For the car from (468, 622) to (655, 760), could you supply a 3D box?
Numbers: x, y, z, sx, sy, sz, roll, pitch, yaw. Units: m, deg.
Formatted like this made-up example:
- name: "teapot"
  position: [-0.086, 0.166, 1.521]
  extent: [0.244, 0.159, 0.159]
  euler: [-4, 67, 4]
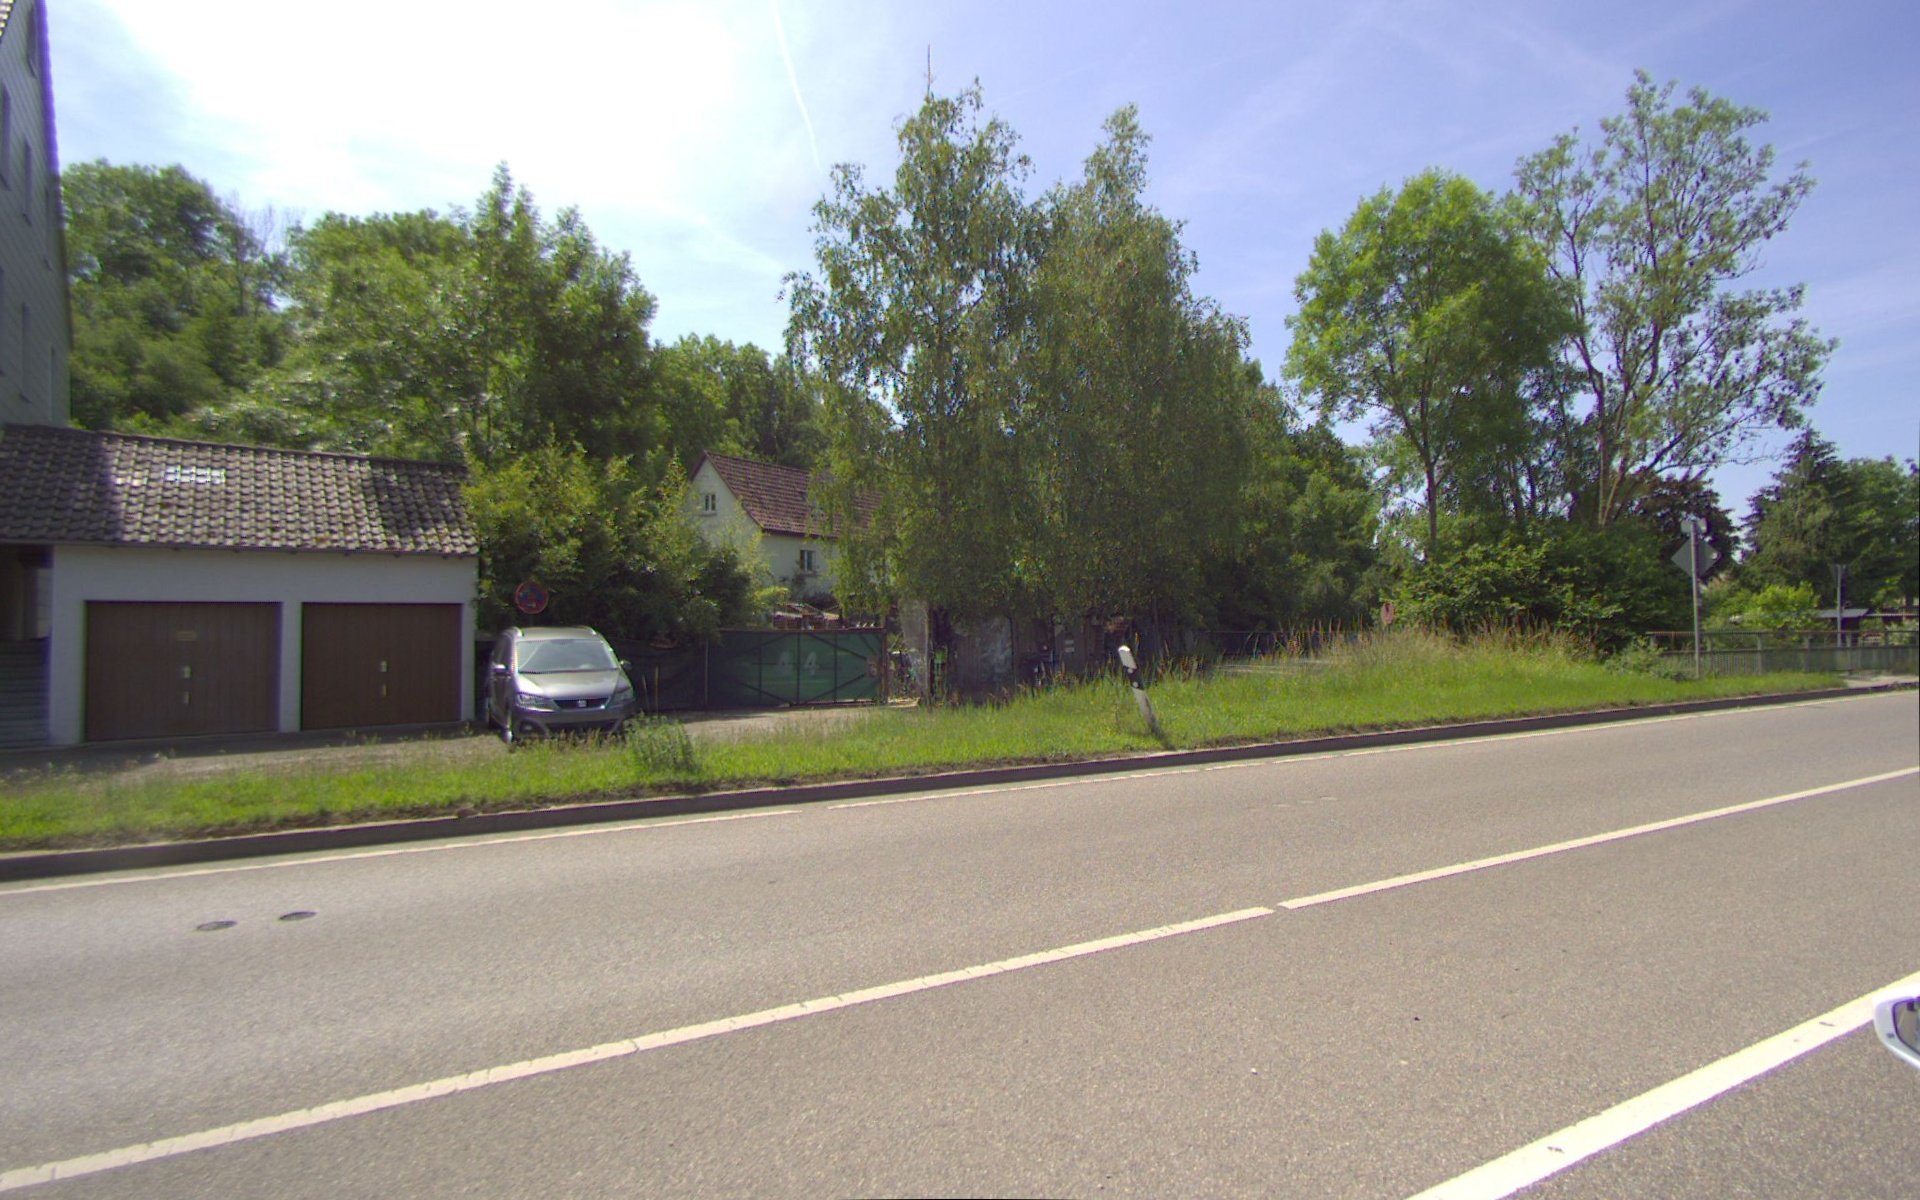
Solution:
- name: "car"
  position: [-6.523, 1.299, 16.104]
  extent: [1.842, 1.743, 4.634]
  euler: [-1, 1, -34]
